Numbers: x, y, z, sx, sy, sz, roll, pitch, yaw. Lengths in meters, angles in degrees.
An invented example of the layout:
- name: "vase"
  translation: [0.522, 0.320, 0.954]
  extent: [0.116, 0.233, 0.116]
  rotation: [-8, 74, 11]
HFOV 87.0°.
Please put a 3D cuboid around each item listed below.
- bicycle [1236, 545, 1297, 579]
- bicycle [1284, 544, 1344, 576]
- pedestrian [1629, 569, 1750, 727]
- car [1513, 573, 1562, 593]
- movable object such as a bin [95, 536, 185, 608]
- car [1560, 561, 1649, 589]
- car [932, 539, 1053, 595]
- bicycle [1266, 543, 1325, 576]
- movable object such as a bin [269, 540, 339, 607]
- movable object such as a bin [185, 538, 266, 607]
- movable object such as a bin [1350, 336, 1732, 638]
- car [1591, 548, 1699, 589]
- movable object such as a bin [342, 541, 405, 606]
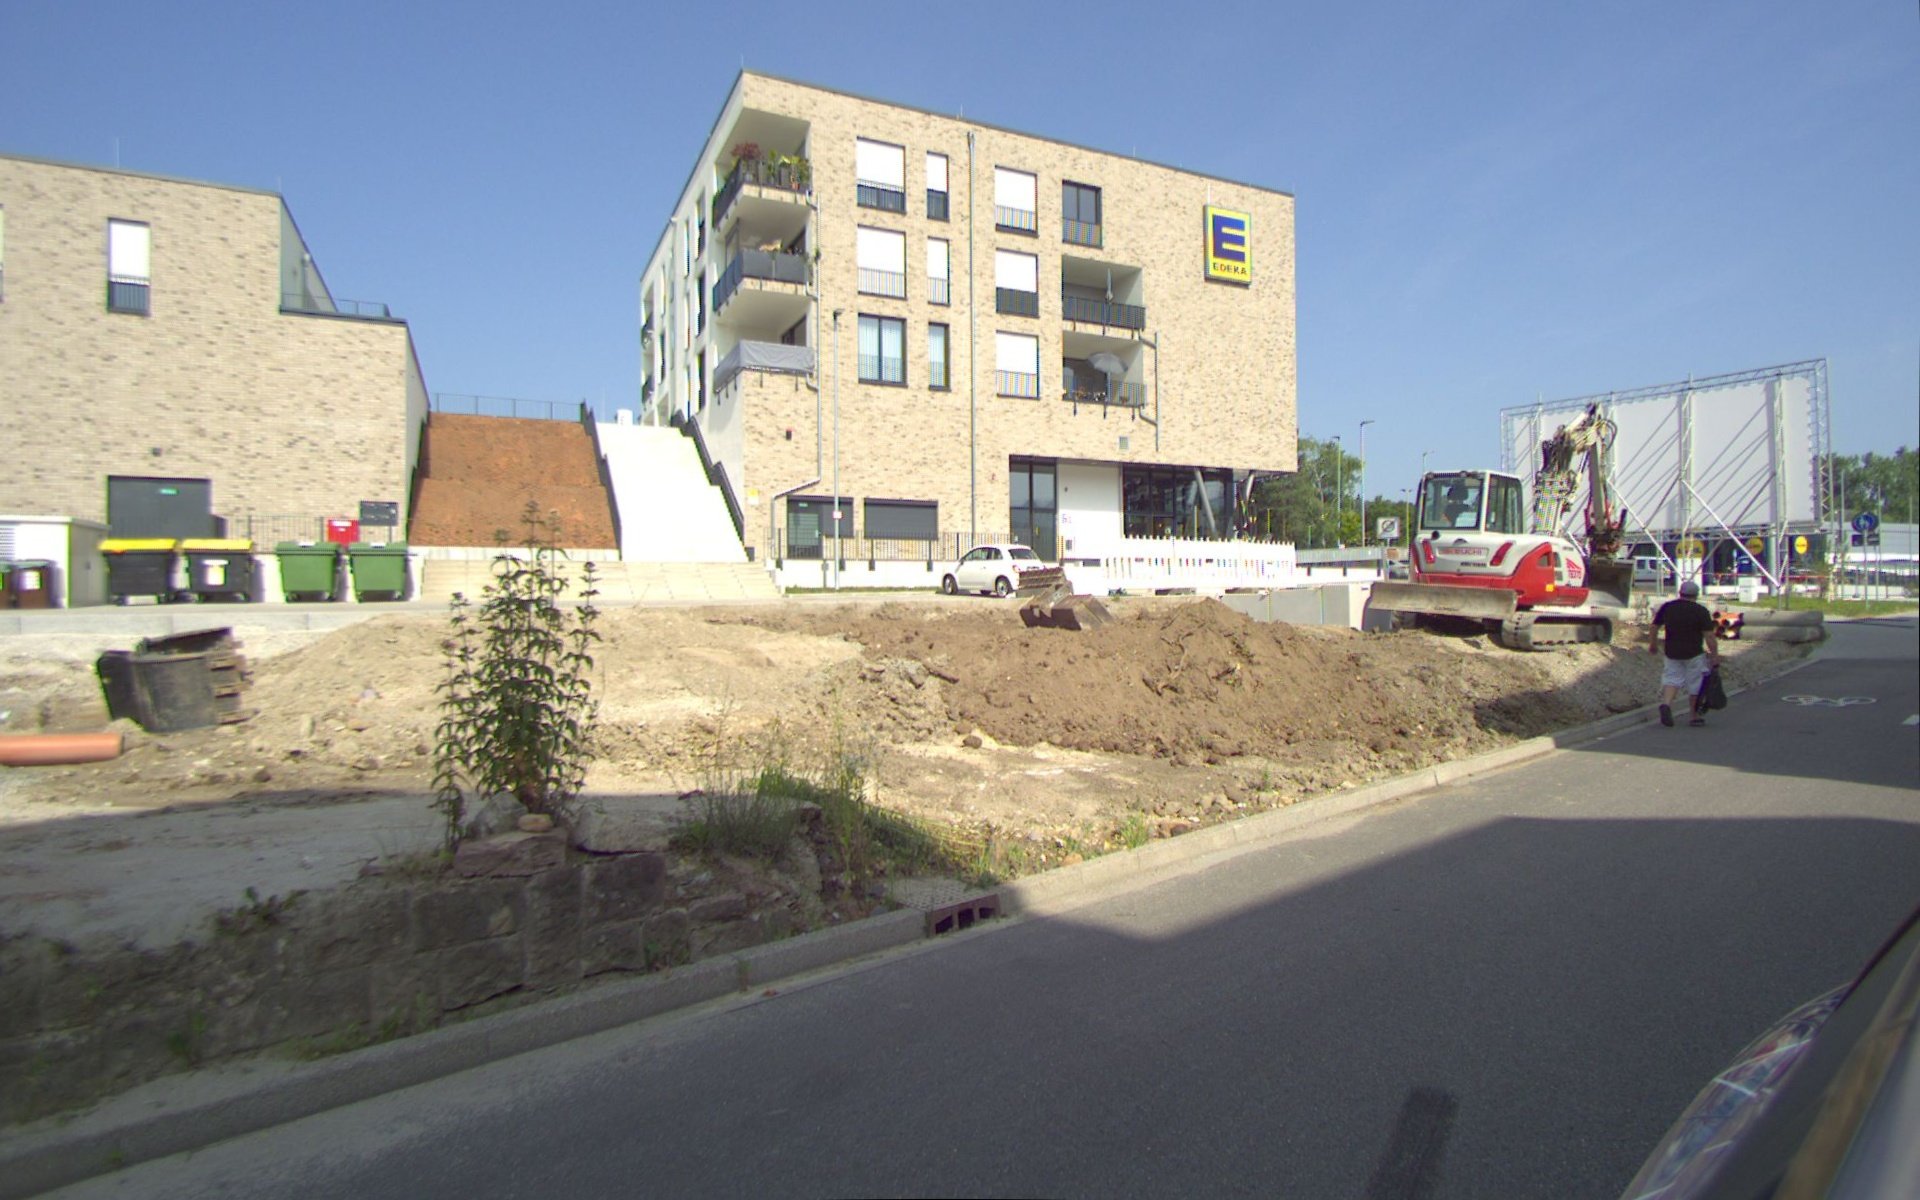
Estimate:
- name: "bicycle"
  translation: [12.278, -1.518, 40.641]
  extent: [0.841, 1.159, 2.242]
  rotation: [1, -4, -37]
- name: "bicycle"
  translation: [14.782, -1.654, 42.311]
  extent: [0.841, 1.159, 2.242]
  rotation: [1, -4, -37]
- name: "pedestrian"
  translation: [8.306, 0.526, 11.531]
  extent: [0.706, 1.704, 0.890]
  rotation: [-1, -2, -40]
- name: "car"
  translation: [49.236, -1.426, 86.280]
  extent: [3.708, 1.595, 1.668]
  rotation: [0, -3, -24]
- name: "movable object such as a bin"
  translation: [-18.510, -0.606, 22.907]
  extent: [1.293, 1.483, 1.586]
  rotation: [0, -3, -28]
- name: "car"
  translation: [43.009, -1.639, 67.657]
  extent: [1.882, 1.550, 4.868]
  rotation: [-1, -3, -19]
- name: "car"
  translation: [0.890, -0.925, 29.073]
  extent: [1.567, 1.513, 3.411]
  rotation: [-2, 2, -40]
- name: "bicycle"
  translation: [13.834, -1.635, 41.743]
  extent: [0.752, 1.159, 2.242]
  rotation: [1, -4, -37]
- name: "movable object such as a bin"
  translation: [-15.713, -0.616, 24.300]
  extent: [1.293, 1.483, 1.304]
  rotation: [0, -3, -28]
- name: "movable object such as a bin"
  translation: [-17.122, -0.609, 23.637]
  extent: [1.293, 1.483, 1.700]
  rotation: [0, -3, -28]
- name: "movable object such as a bin"
  translation: [9.648, -1.509, 16.398]
  extent: [7.653, 3.904, 2.301]
  rotation: [-1, -3, -37]
- name: "car"
  translation: [47.731, -2.148, 70.754]
  extent: [2.017, 2.415, 6.101]
  rotation: [0, -3, -21]
- name: "movable object such as a bin"
  translation: [-14.437, -0.621, 24.934]
  extent: [1.293, 1.483, 1.304]
  rotation: [0, -3, -30]
